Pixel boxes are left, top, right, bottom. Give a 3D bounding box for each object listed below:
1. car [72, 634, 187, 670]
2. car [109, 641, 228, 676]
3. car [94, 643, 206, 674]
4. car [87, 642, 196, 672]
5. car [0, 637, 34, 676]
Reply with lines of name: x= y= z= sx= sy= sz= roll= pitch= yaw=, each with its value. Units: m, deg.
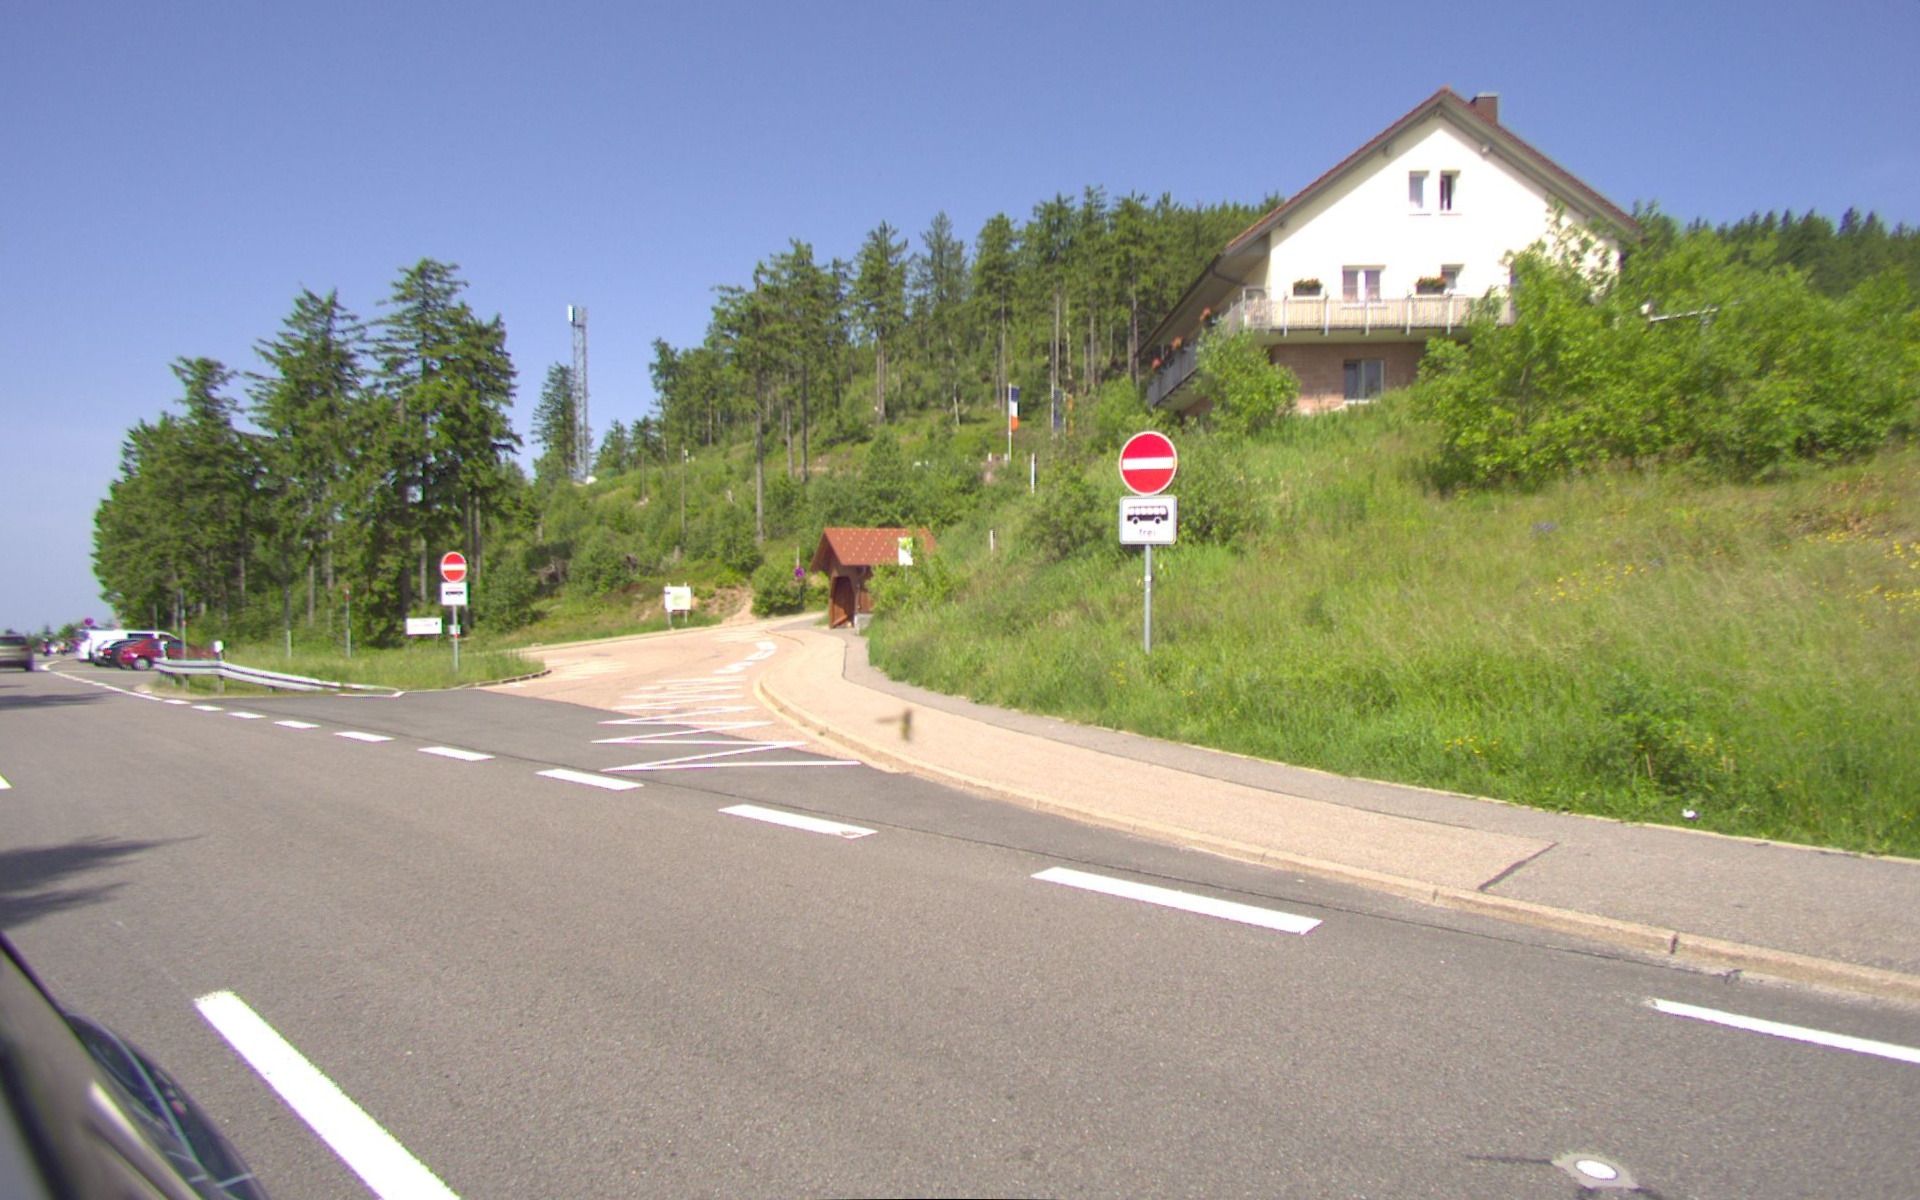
car: x=-46.354 y=2.885 z=56.556 sx=1.931 sy=1.896 sz=4.668 roll=-2 pitch=-3 yaw=41
car: x=-36.459 y=2.667 z=46.700 sx=4.101 sy=1.522 sz=1.933 roll=2 pitch=-3 yaw=-45
car: x=-38.592 y=2.769 z=48.285 sx=1.931 sy=1.384 sz=3.878 roll=-2 pitch=-3 yaw=41
car: x=-43.626 y=3.003 z=54.005 sx=1.931 sy=1.537 sz=4.188 roll=-2 pitch=-3 yaw=41
car: x=-41.668 y=2.433 z=43.963 sx=1.970 sy=1.608 sz=4.003 roll=1 pitch=-2 yaw=-44
